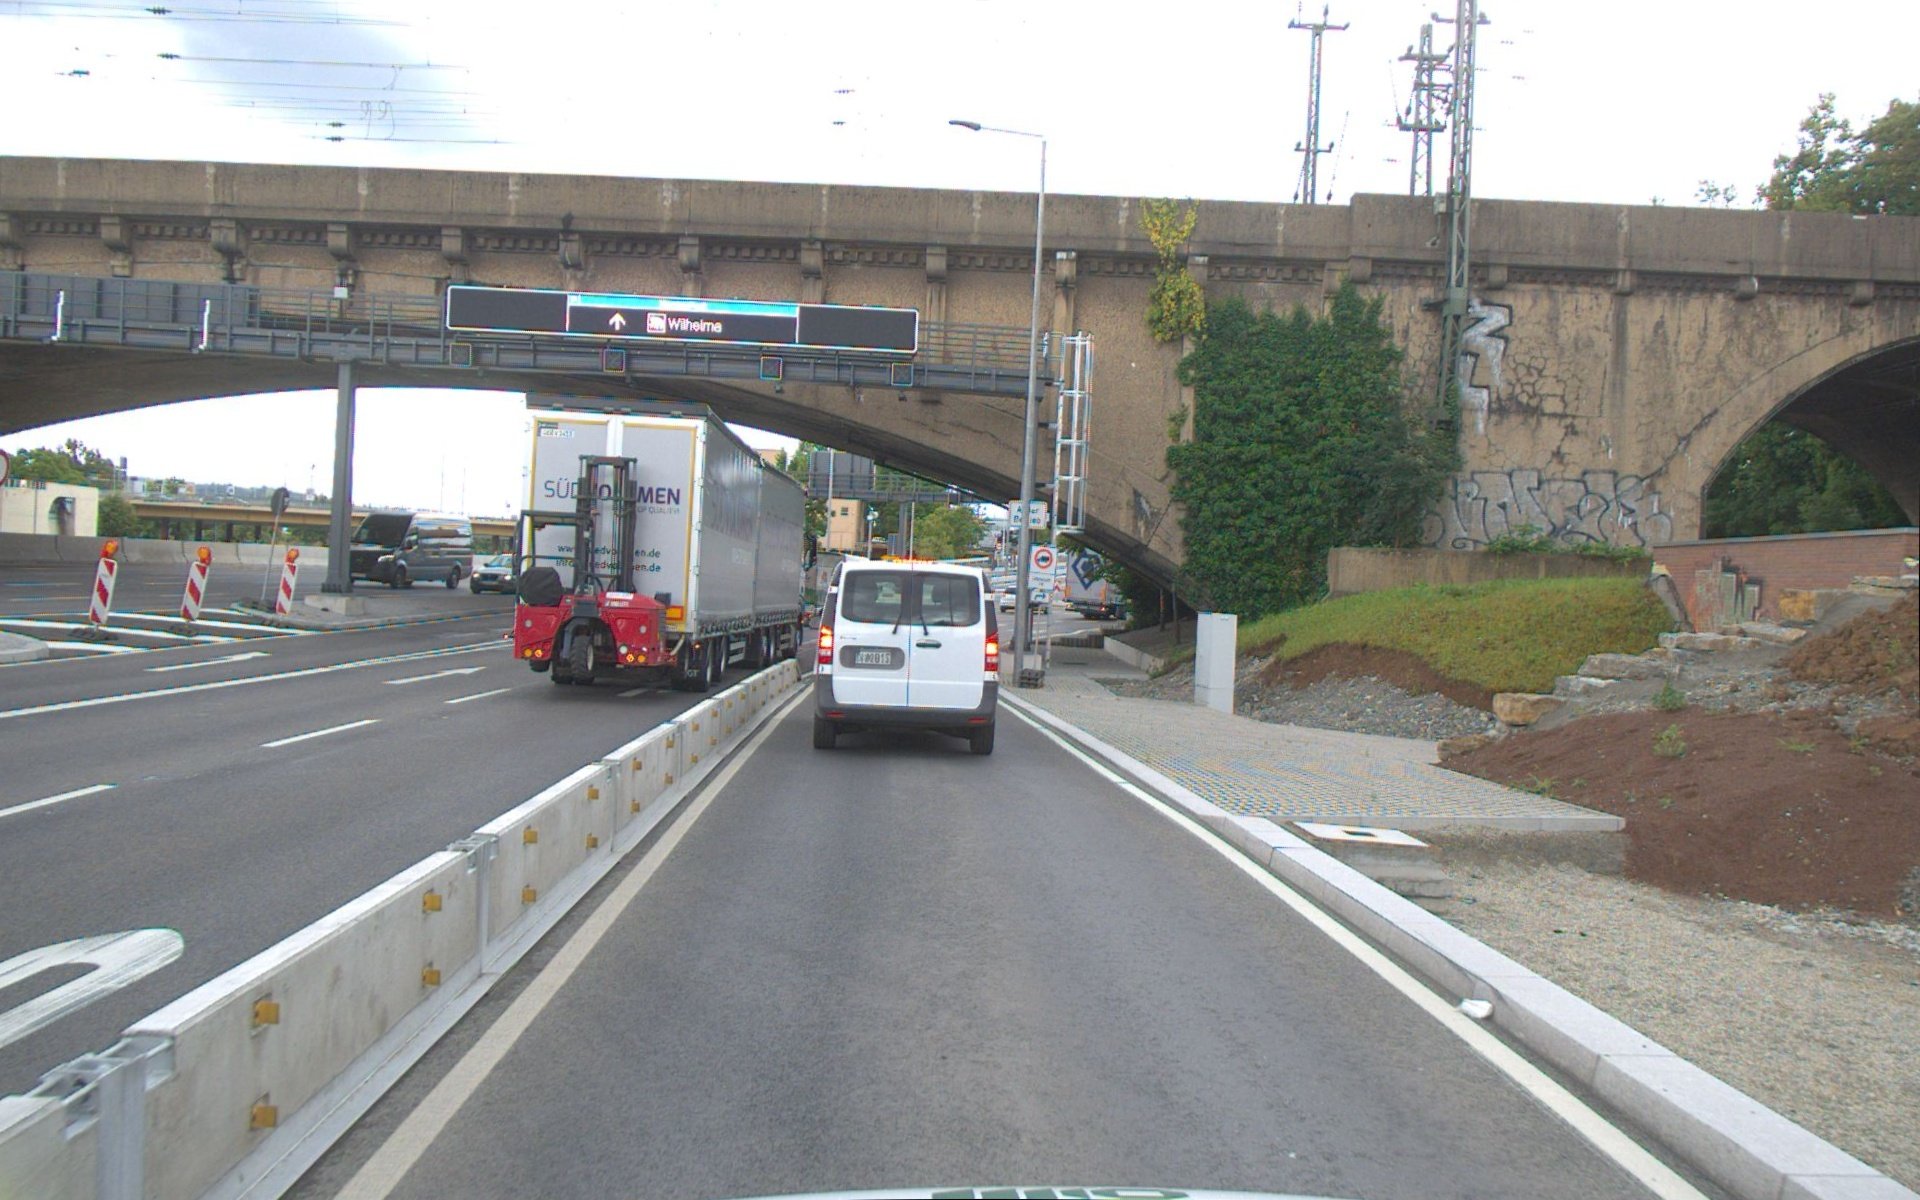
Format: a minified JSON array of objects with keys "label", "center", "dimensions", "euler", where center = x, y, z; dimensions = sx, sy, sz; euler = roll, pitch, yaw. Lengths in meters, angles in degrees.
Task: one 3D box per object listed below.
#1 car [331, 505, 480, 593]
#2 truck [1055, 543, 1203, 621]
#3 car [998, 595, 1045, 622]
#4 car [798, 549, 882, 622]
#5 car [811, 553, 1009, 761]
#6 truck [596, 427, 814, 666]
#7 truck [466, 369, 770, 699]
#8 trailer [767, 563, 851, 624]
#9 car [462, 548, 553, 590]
[{"label":"car","center":[-19.099,-1.713,57.351],"dimensions":[2.168,2.825,6.150],"euler":[2,1,10]},{"label":"truck","center":[10.047,-0.897,95.120],"dimensions":[3.252,3.874,16.584],"euler":[5,1,24]},{"label":"car","center":[3.401,0.468,90.768],"dimensions":[1.345,1.400,3.460],"euler":[3,1,24]},{"label":"car","center":[-4.661,-0.582,65.131],"dimensions":[1.952,2.585,5.179],"euler":[5,1,9]},{"label":"car","center":[-0.519,0.526,18.080],"dimensions":[1.838,1.924,4.752],"euler":[1,0,-1]},{"label":"truck","center":[-5.212,-0.887,36.300],"dimensions":[2.927,4.249,11.237],"euler":[3,-1,-1]},{"label":"truck","center":[-4.993,-0.794,26.454],"dimensions":[2.859,4.087,10.195],"euler":[3,-1,-2]},{"label":"trailer","center":[-5.491,-0.262,60.560],"dimensions":[1.952,1.991,4.082],"euler":[5,1,9]},{"label":"car","center":[-15.829,-1.054,58.054],"dimensions":[1.846,1.354,4.258],"euler":[0,-1,3]}]
